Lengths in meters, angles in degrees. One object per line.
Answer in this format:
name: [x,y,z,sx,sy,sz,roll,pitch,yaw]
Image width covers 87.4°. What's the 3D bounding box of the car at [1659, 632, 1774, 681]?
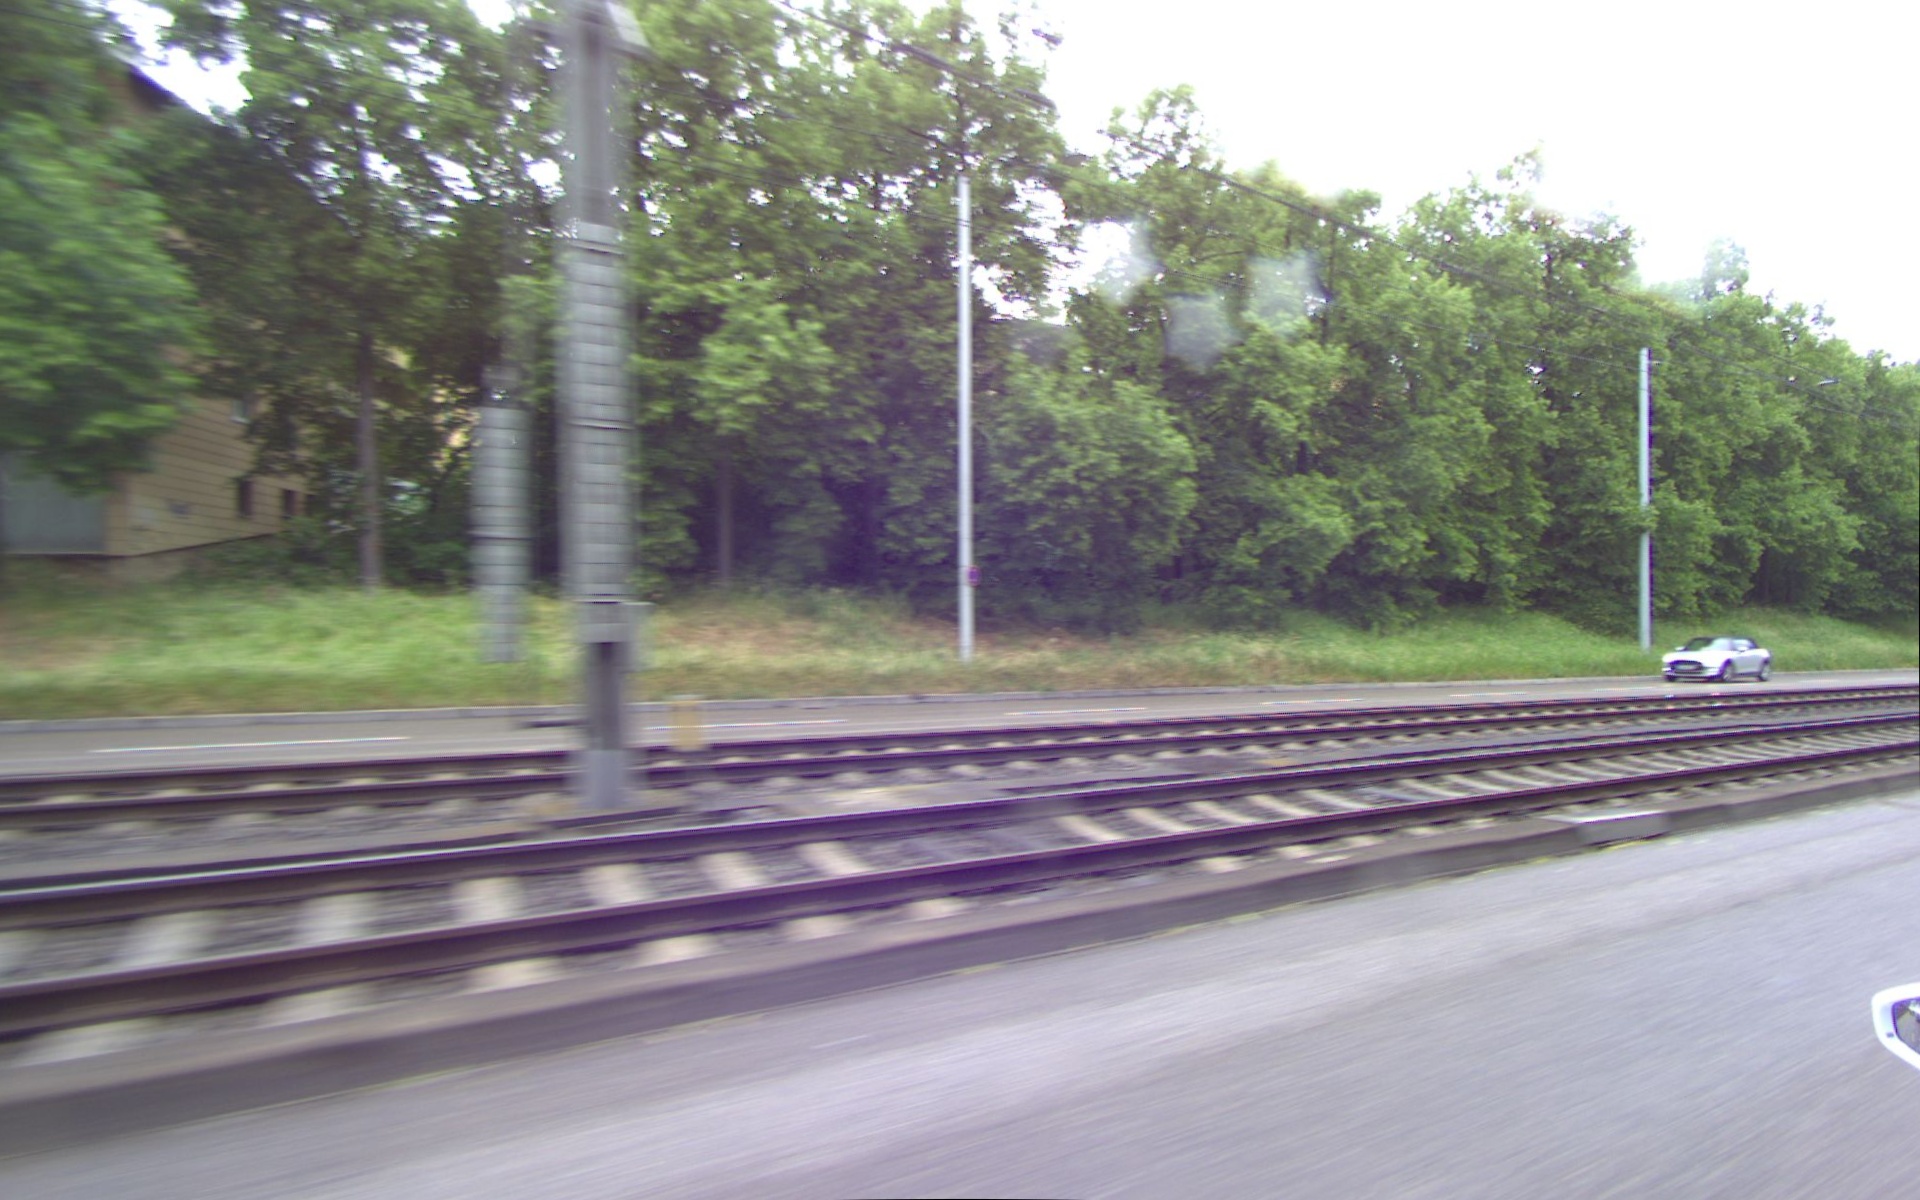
car: [23.783,1.757,31.550,3.863,1.454,1.470,1,-3,-30]
